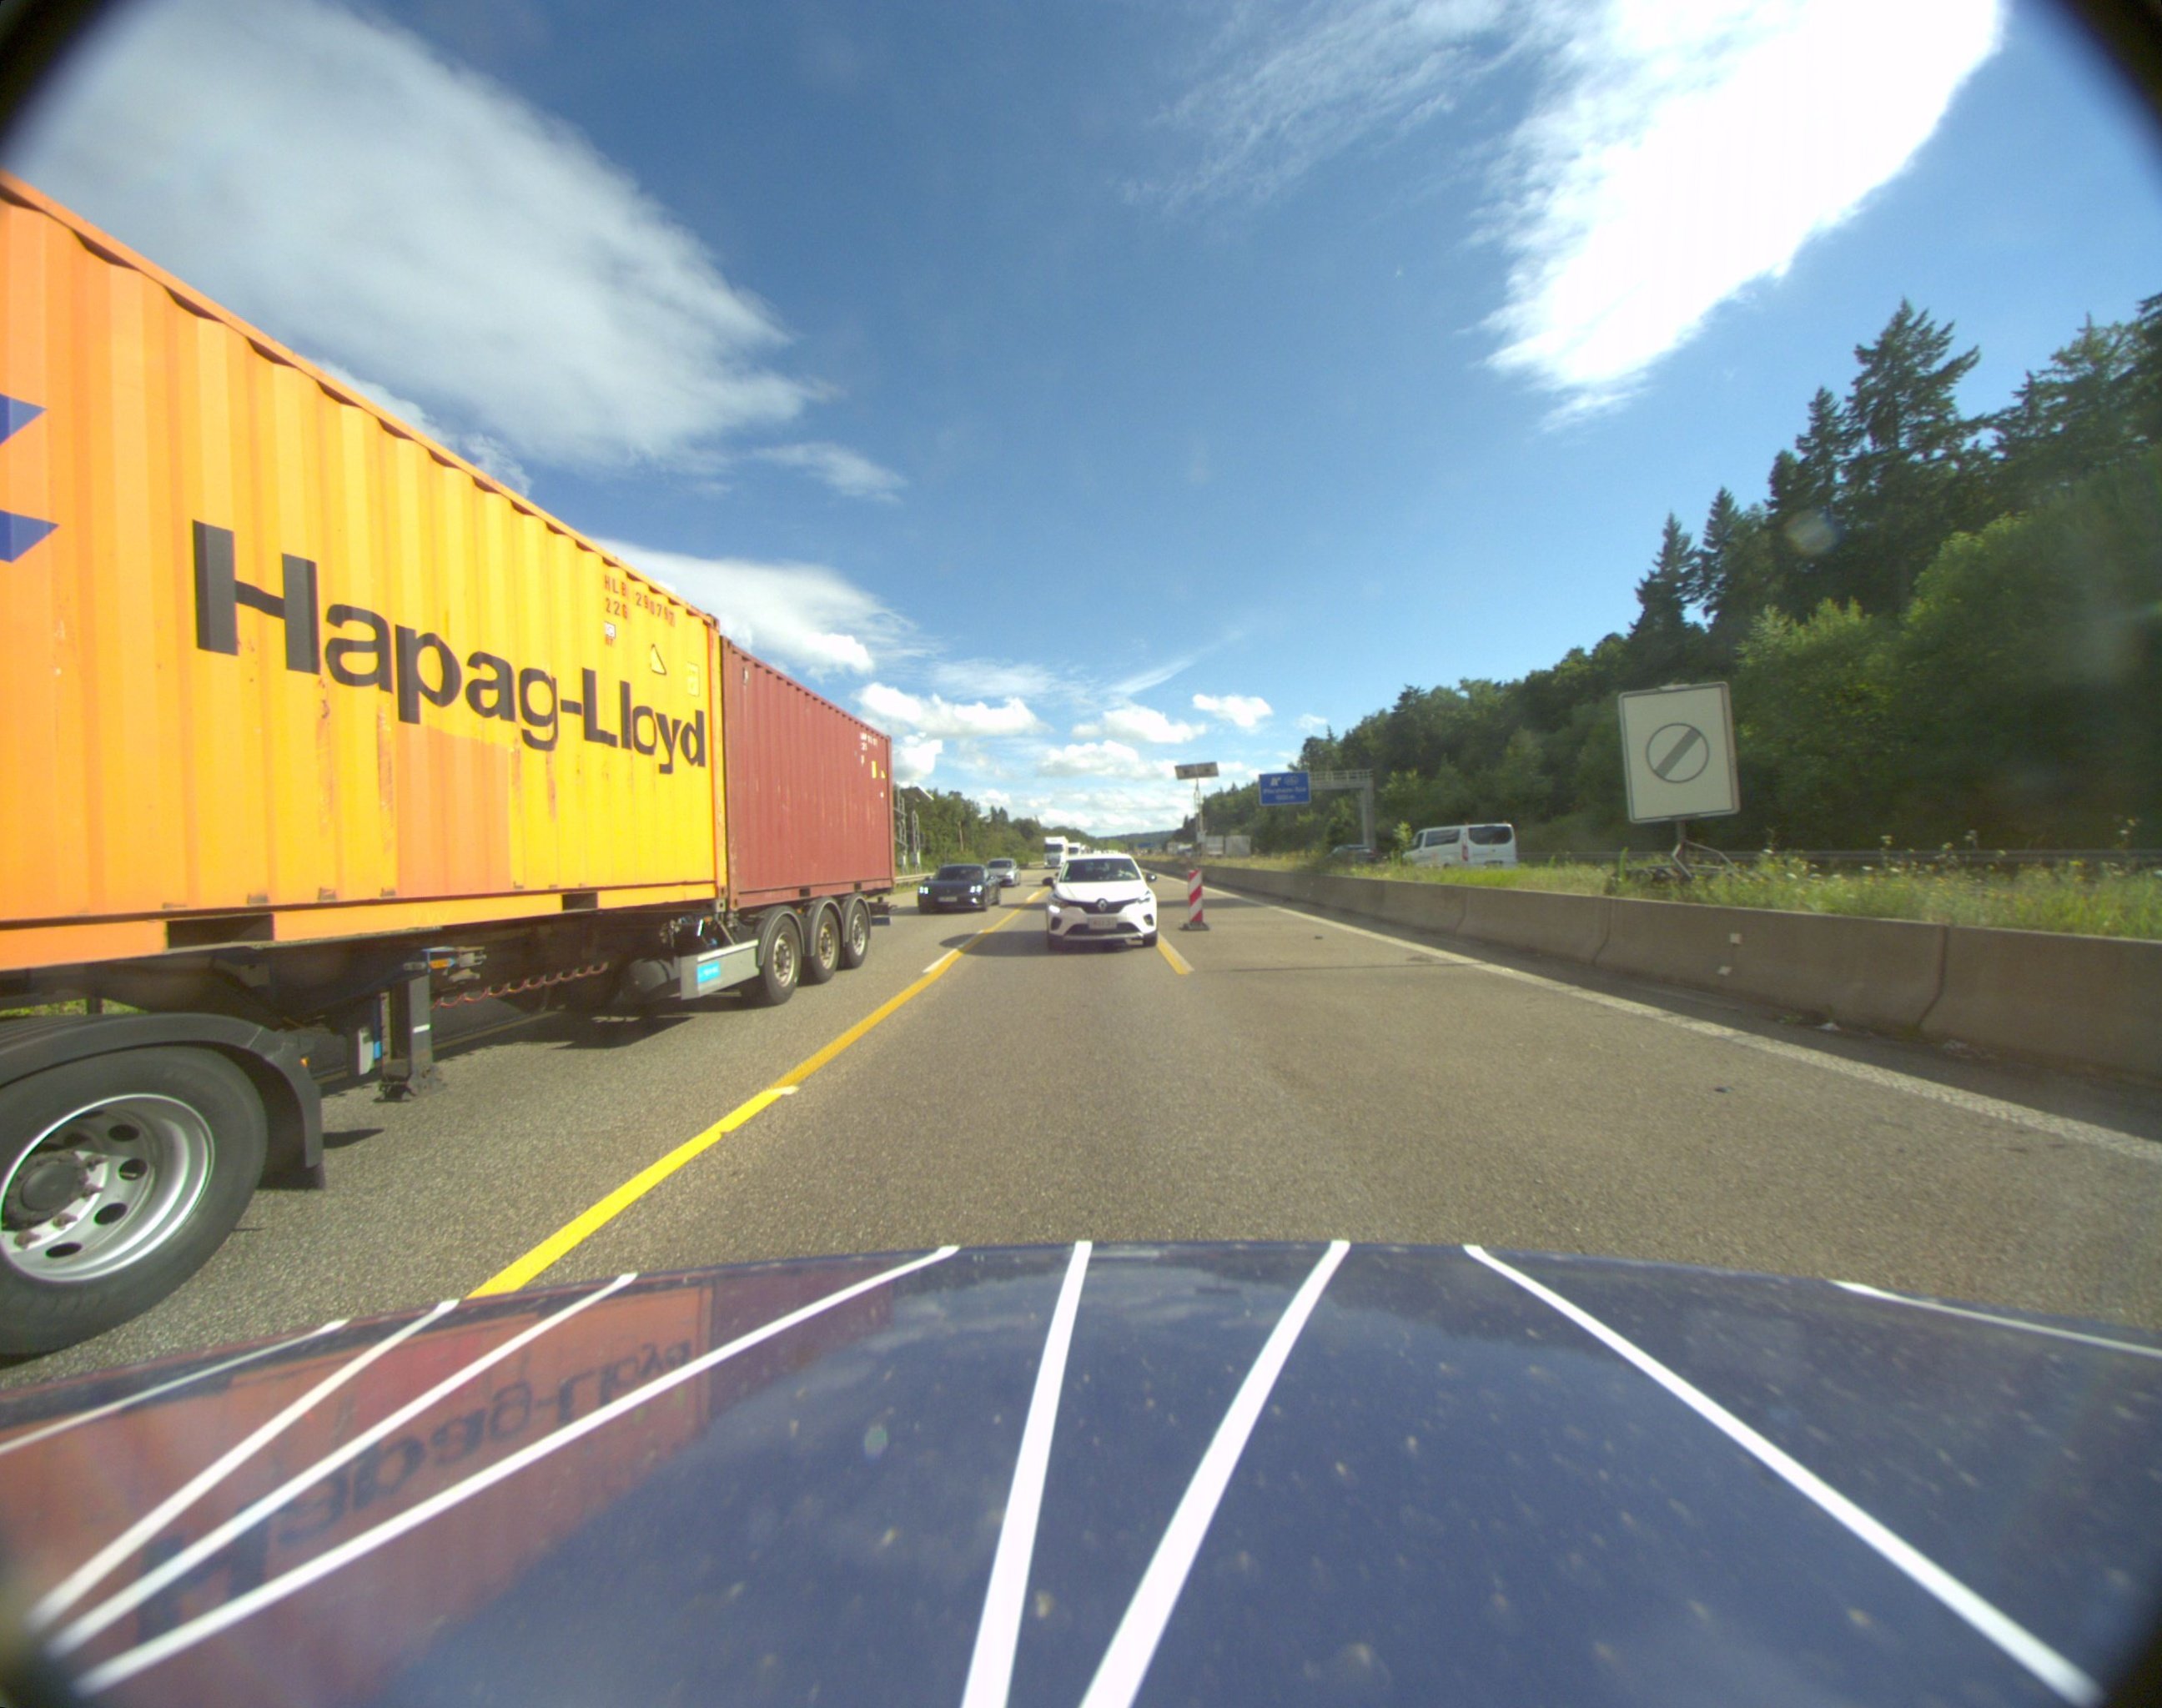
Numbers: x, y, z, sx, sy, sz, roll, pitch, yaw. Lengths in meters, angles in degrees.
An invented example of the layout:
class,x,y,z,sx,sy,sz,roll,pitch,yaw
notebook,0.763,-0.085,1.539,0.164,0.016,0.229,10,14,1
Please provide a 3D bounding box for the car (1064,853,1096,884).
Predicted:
class,x,y,z,sx,sy,sz,roll,pitch,yaw
car,-0.017,0.764,41.286,1.633,1.548,3.754,-2,0,1

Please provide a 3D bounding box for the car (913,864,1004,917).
class,x,y,z,sx,sy,sz,roll,pitch,yaw
car,-3.623,1.038,23.313,1.933,1.342,4.477,-2,0,1

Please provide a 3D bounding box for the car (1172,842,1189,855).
class,x,y,z,sx,sy,sz,roll,pitch,yaw
car,14.207,-0.791,108.793,1.949,1.802,4.118,-2,1,1

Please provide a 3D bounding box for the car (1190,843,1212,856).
class,x,y,z,sx,sy,sz,roll,pitch,yaw
car,13.234,-0.500,84.207,1.783,1.379,4.310,-2,1,1

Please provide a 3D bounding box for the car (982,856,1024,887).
class,x,y,z,sx,sy,sz,roll,pitch,yaw
car,-4.181,0.927,41.239,1.762,1.471,3.967,-2,1,1

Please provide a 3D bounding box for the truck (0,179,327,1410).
class,x,y,z,sx,sy,sz,roll,pitch,yaw
truck,-4.554,-0.156,0.313,2.501,3.759,5.789,-2,1,0

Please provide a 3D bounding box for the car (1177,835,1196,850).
class,x,y,z,sx,sy,sz,roll,pitch,yaw
car,17.470,-1.910,126.194,2.165,2.437,6.331,-3,1,1

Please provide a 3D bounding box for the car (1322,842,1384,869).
class,x,y,z,sx,sy,sz,roll,pitch,yaw
car,15.347,0.060,43.111,1.963,1.355,4.287,-2,1,1

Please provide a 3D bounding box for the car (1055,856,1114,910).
class,x,y,z,sx,sy,sz,roll,pitch,yaw
car,0.138,0.845,24.124,1.692,1.471,3.754,-2,1,1

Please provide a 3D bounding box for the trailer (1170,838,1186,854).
class,x,y,z,sx,sy,sz,roll,pitch,yaw
trailer,24.114,-2.039,189.316,2.797,3.901,8.487,-2,1,1

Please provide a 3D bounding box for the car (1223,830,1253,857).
class,x,y,z,sx,sy,sz,roll,pitch,yaw
car,20.934,-1.390,101.616,2.493,3.351,7.451,-2,1,0

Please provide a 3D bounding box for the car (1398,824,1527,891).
class,x,y,z,sx,sy,sz,roll,pitch,yaw
car,12.870,0.109,26.037,1.998,2.002,4.831,-2,0,1

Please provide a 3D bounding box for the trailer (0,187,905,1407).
class,x,y,z,sx,sy,sz,roll,pitch,yaw
trailer,-4.472,-0.193,7.097,2.477,3.753,12.135,-2,0,1

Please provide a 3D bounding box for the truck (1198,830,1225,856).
class,x,y,z,sx,sy,sz,roll,pitch,yaw
truck,21.706,-1.783,127.189,2.807,3.969,10.185,-2,0,1

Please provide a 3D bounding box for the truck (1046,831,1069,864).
class,x,y,z,sx,sy,sz,roll,pitch,yaw
truck,-3.017,-0.822,98.168,2.641,4.092,8.194,-2,0,0

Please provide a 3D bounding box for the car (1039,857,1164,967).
class,x,y,z,sx,sy,sz,roll,pitch,yaw
car,0.327,0.892,13.430,1.840,1.528,3.882,-2,1,0

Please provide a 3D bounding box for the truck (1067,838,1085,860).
class,x,y,z,sx,sy,sz,roll,pitch,yaw
truck,-0.914,-1.015,147.018,2.640,4.092,8.197,-2,0,3
